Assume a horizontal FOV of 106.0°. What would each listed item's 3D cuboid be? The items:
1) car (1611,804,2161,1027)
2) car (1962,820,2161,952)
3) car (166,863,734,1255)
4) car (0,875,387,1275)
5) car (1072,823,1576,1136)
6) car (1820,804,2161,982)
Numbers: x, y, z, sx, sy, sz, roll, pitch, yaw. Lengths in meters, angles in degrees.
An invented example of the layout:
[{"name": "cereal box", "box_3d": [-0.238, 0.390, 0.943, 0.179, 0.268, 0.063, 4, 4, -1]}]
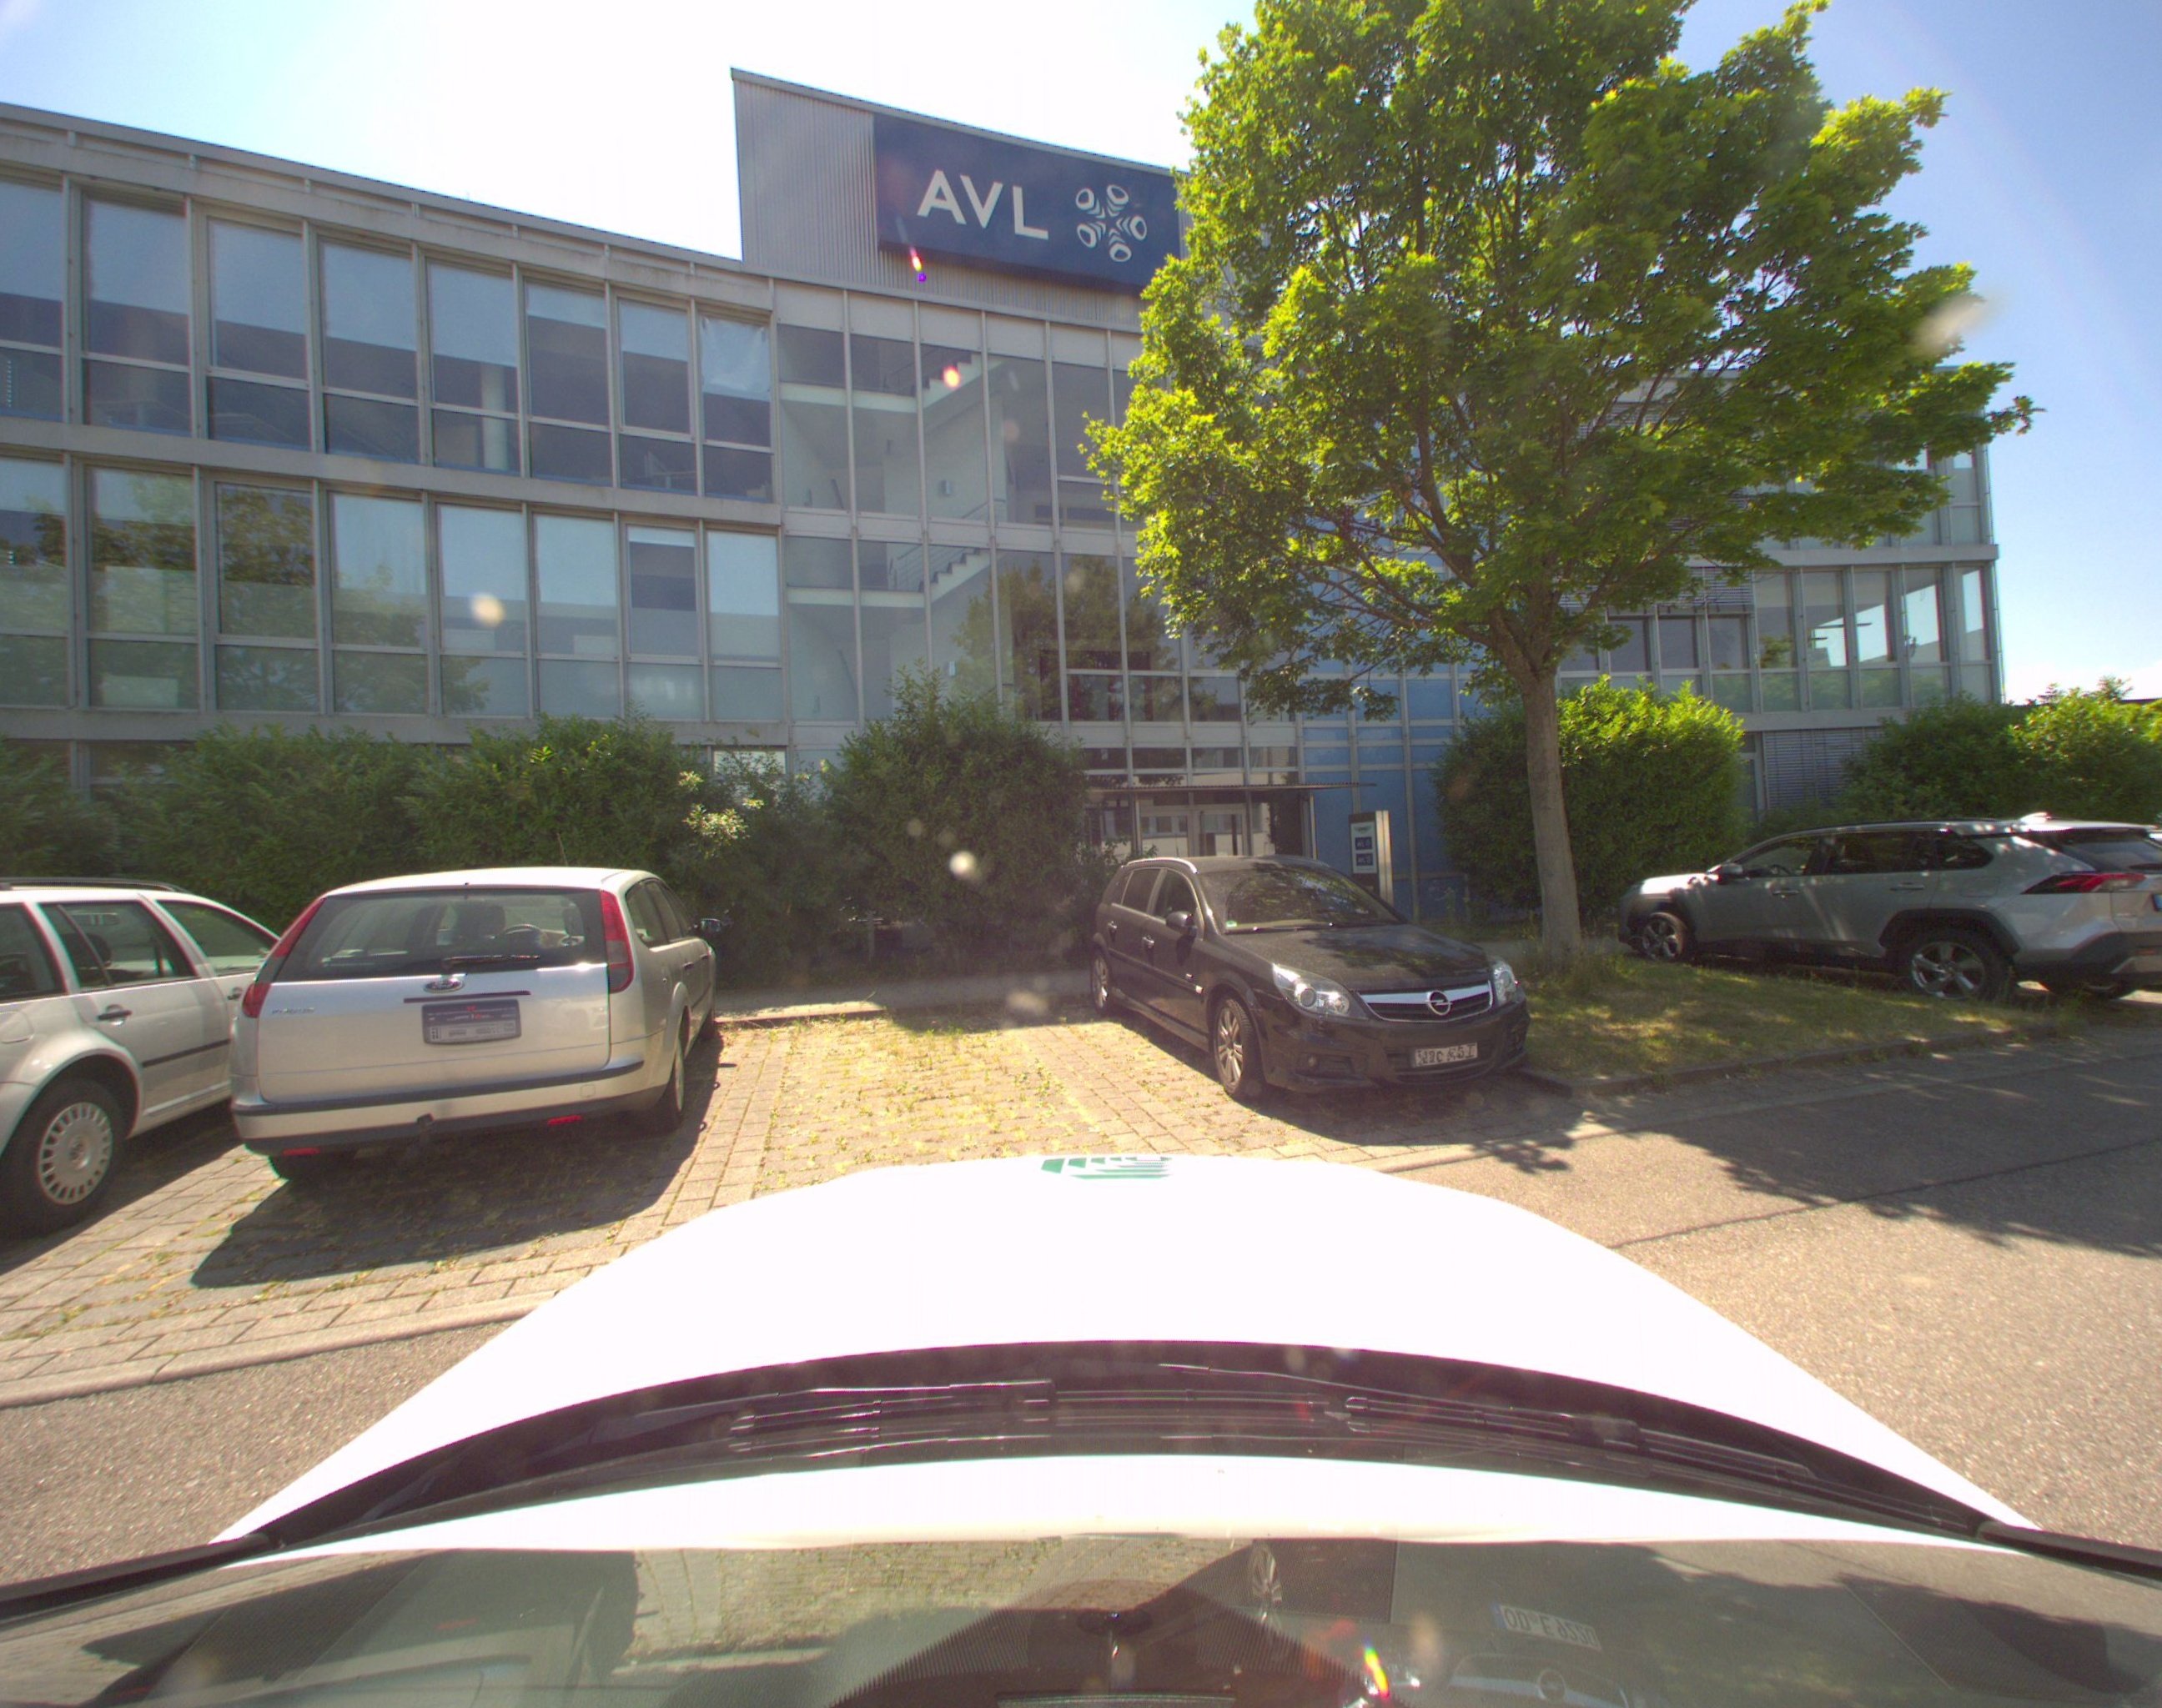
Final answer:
[{"name": "car", "box_3d": [8.029, 0.430, 8.328, 1.853, 1.643, 4.314, -1, 0, -13]}, {"name": "car", "box_3d": [13.054, 0.339, 9.062, 1.657, 1.486, 4.160, -1, 0, -13]}, {"name": "car", "box_3d": [-3.463, 0.844, 5.514, 1.725, 1.479, 4.320, -1, -1, -19]}, {"name": "car", "box_3d": [-5.377, 0.878, 4.146, 1.654, 1.479, 3.863, -1, -1, -22]}, {"name": "car", "box_3d": [1.338, 0.666, 6.538, 1.761, 1.549, 4.542, -1, -1, -15]}, {"name": "car", "box_3d": [10.593, 0.339, 8.415, 1.657, 1.643, 4.185, -1, 0, -13]}]
